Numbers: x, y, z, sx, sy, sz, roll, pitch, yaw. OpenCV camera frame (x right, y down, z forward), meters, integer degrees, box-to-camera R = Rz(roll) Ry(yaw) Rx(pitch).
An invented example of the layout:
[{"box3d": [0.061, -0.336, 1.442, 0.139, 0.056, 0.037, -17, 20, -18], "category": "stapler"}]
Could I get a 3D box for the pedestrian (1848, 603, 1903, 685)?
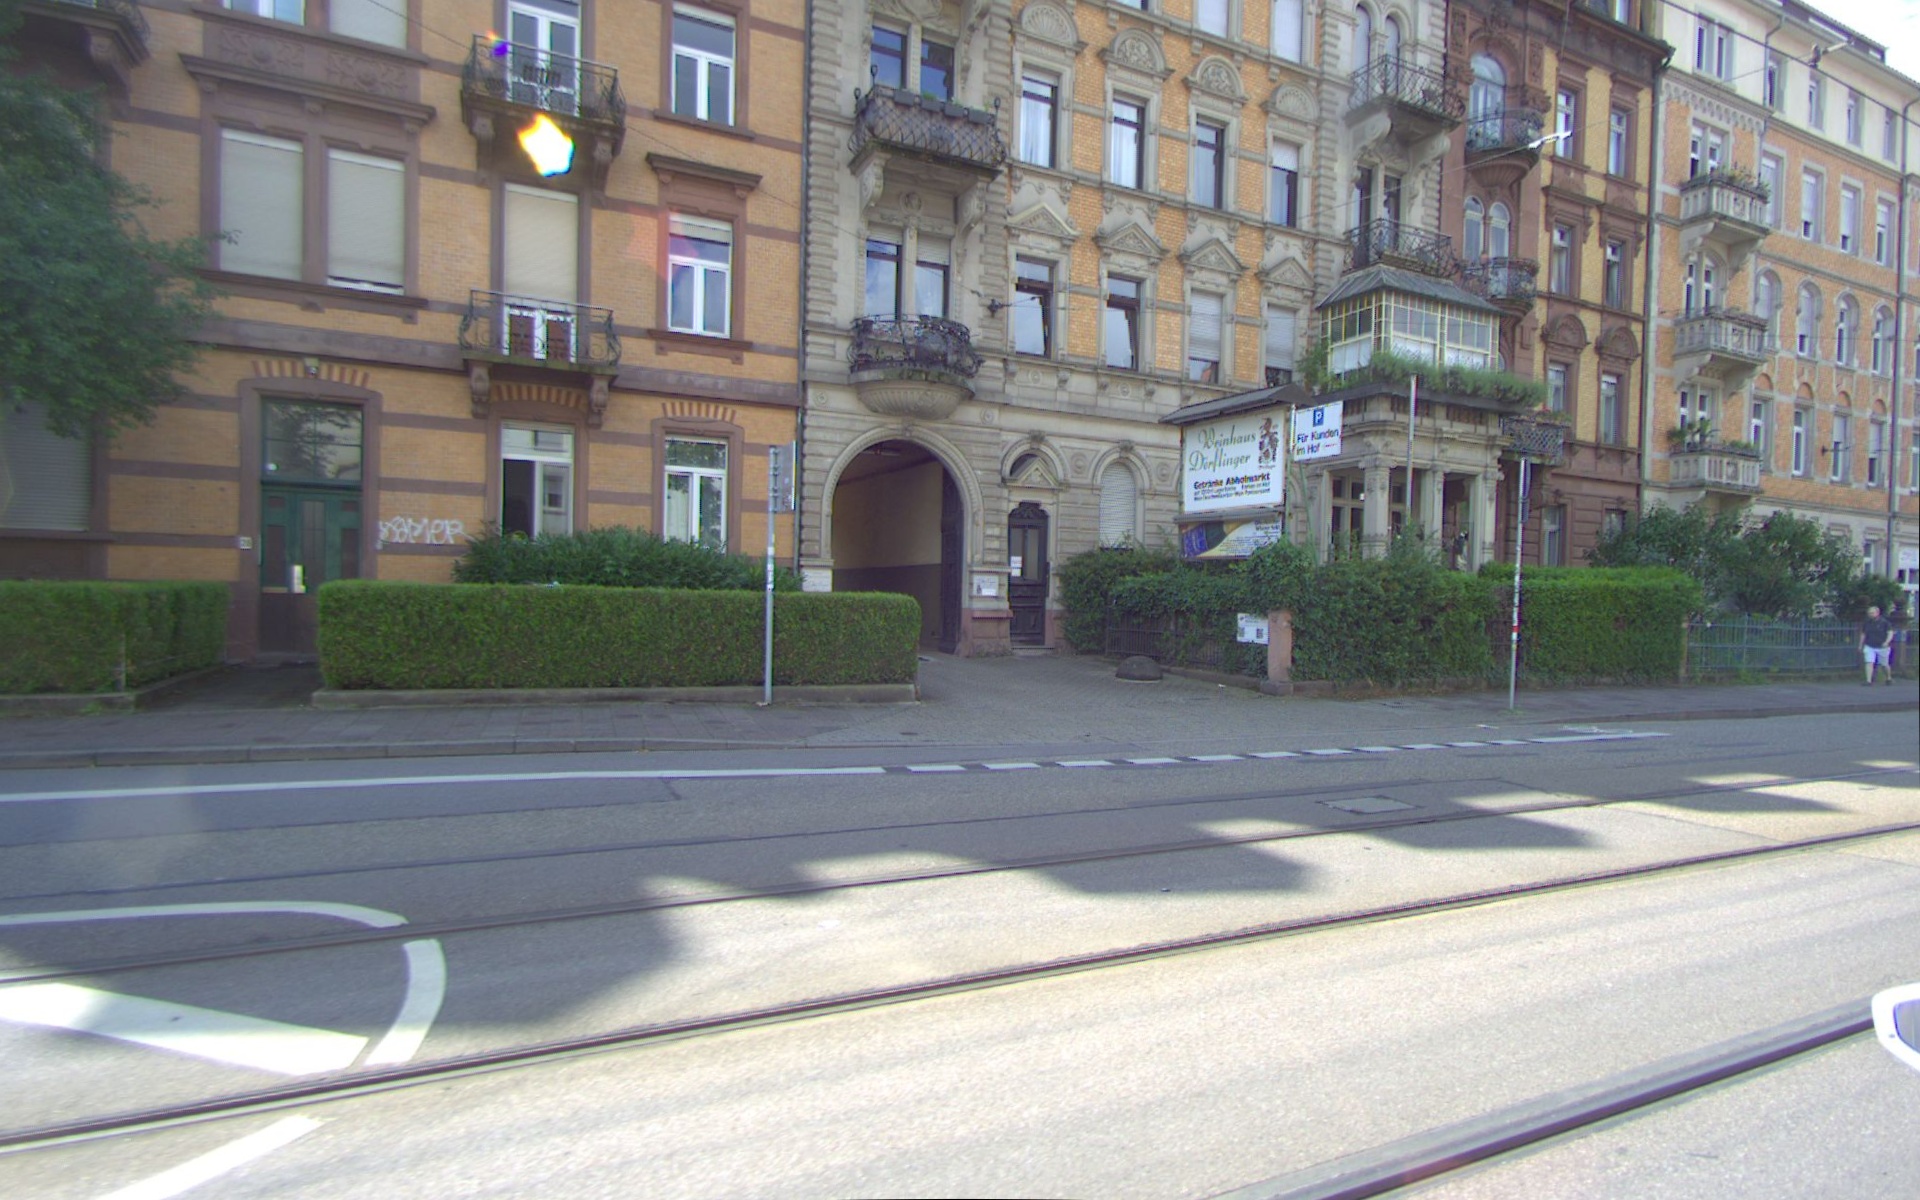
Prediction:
[{"box3d": [19.755, 0.948, 21.663, 1.137, 1.726, 0.485, 1, 1, -28], "category": "pedestrian"}]
